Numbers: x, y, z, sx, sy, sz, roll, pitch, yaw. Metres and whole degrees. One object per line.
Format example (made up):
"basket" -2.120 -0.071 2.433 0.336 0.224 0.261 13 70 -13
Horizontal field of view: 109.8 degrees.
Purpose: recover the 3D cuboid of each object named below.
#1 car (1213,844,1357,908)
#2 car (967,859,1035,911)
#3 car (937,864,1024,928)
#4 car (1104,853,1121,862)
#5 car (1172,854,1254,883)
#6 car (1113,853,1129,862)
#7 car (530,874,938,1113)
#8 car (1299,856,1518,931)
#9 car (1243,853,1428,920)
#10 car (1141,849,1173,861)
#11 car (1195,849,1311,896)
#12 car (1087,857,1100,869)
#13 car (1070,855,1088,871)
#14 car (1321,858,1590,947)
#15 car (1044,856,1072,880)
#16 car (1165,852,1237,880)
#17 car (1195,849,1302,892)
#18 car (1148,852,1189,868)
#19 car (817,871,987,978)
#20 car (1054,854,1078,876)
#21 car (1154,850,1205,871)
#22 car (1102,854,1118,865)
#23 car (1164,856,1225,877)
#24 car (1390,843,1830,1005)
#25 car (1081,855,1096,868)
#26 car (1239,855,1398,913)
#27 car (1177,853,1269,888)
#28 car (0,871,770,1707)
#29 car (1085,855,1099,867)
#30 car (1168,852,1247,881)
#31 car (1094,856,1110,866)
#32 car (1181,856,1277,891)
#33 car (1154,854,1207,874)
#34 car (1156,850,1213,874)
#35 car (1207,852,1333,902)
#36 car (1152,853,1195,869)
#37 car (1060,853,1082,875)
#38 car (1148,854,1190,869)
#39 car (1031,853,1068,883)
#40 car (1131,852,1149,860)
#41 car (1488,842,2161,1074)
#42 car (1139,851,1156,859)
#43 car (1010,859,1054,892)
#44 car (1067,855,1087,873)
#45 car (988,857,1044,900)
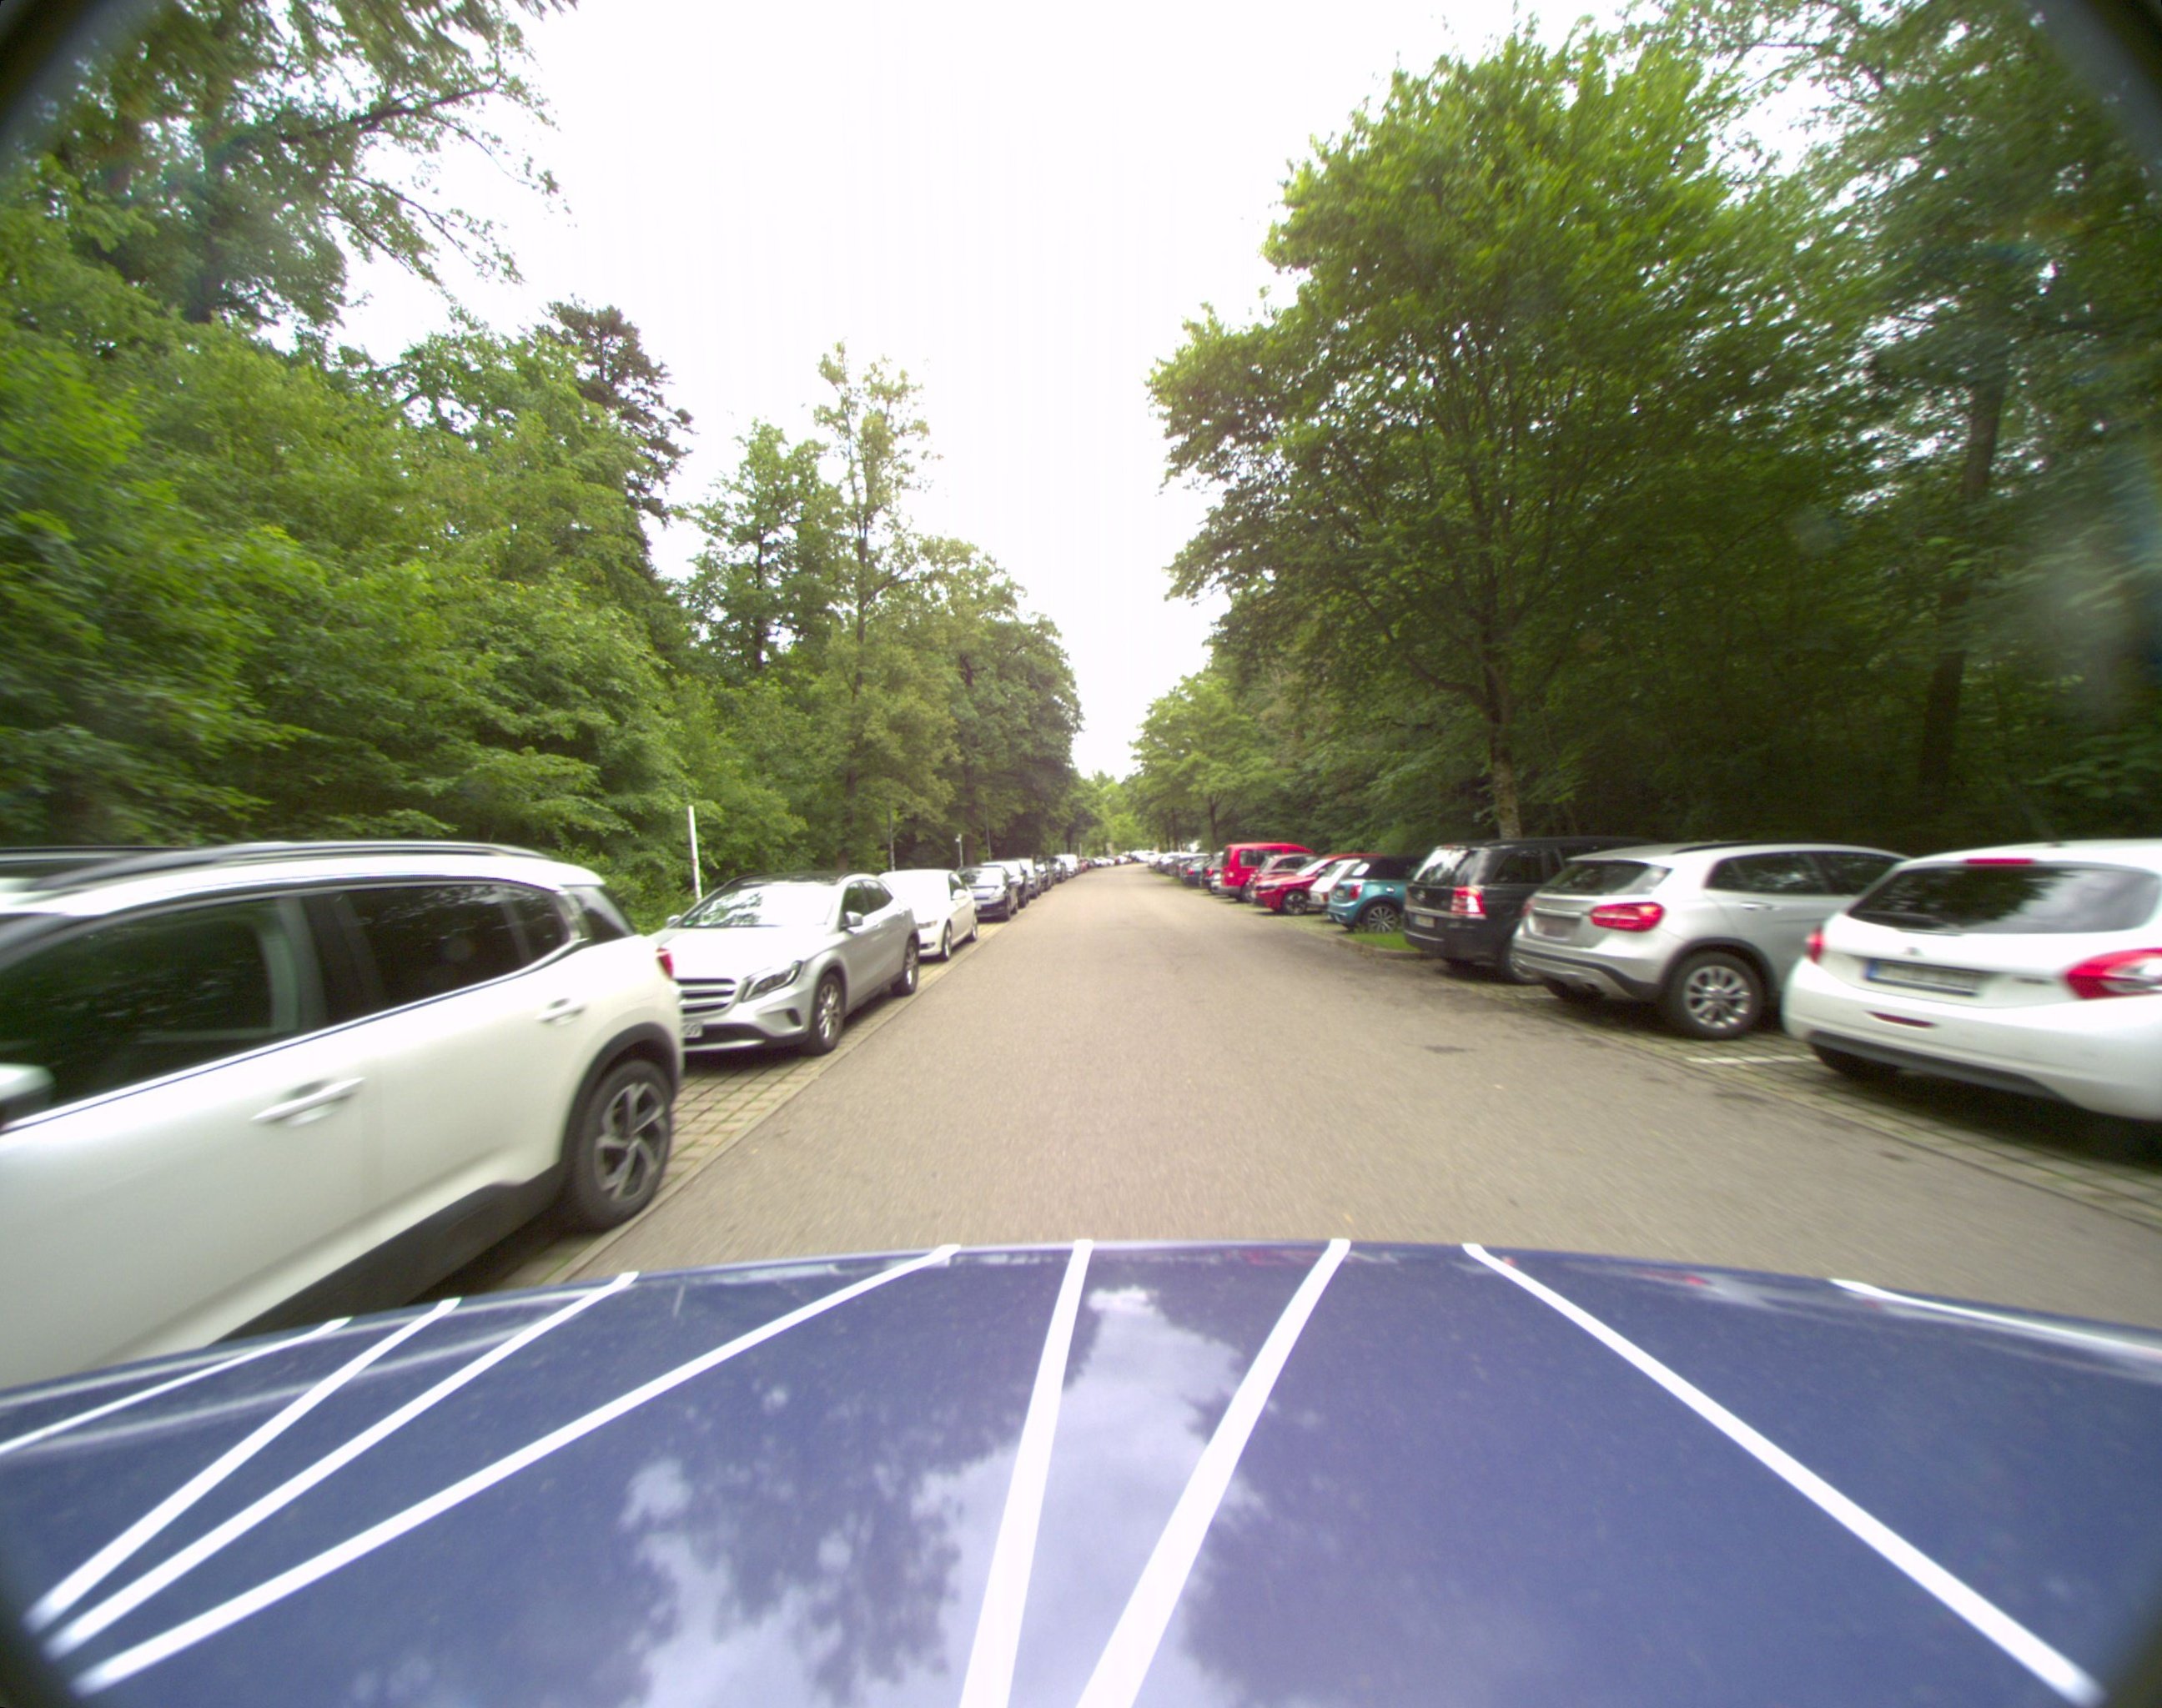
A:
"car" 6.321 0.665 23.855 3.997 1.804 1.818 -2 0 1
"car" -2.629 0.977 25.985 1.843 1.551 4.423 -2 0 -1
"car" -2.607 1.049 20.783 1.741 1.426 4.745 -2 0 -1
"car" 4.686 0.505 113.000 1.771 1.308 3.893 -2 0 13
"car" 7.137 0.769 41.371 4.220 1.447 1.819 -2 0 5
"car" 6.414 0.621 121.615 1.771 1.308 3.893 -2 0 13
"car" -2.860 1.038 7.659 1.740 1.471 4.770 -2 0 2
"car" 7.003 0.820 16.567 3.997 1.440 1.771 -2 0 1
"car" 6.244 0.777 18.960 3.997 1.507 1.771 -2 0 1
"car" 10.213 0.162 102.548 3.992 1.412 1.784 -2 1 17
"car" 6.451 0.673 28.786 3.996 1.588 1.742 -2 0 3
"car" 1.637 1.151 98.800 1.502 1.470 3.667 -2 0 4
"car" -0.181 0.872 76.280 1.502 1.470 3.666 -2 0 3
"car" 6.573 0.836 13.676 3.996 1.440 1.696 -1 0 4
"car" -1.612 0.983 54.521 1.705 1.529 3.963 -2 0 2
"car" 7.293 0.729 46.358 3.998 1.508 1.713 -3 0 -4
"car" 6.860 0.675 31.426 3.997 1.588 1.741 -2 0 1
"car" 9.006 0.587 78.294 3.998 1.469 1.713 -2 0 -2
"car" -2.898 1.086 13.327 1.740 1.398 4.428 -2 0 2
"car" -1.112 0.802 59.273 1.580 1.610 3.963 -2 0 2
"car" 8.269 0.565 64.049 3.998 1.699 1.713 -1 0 -2
"car" 4.193 0.732 108.092 1.501 1.470 3.669 -2 0 13
"car" 7.999 0.880 53.831 3.998 1.363 1.713 -2 0 -4
"car" 5.998 0.747 8.952 3.997 1.652 1.696 -1 0 -1
"car" 0.898 0.829 88.641 1.502 1.470 3.667 -2 0 4
"car" 6.731 0.822 21.866 3.997 1.507 1.818 -2 0 1
"car" 6.758 0.775 36.363 3.997 1.433 1.741 -3 0 -1
"car" -2.858 0.954 2.064 1.740 1.634 5.072 -2 0 2
"car" 1.331 0.851 93.475 1.502 1.470 3.667 -2 0 4
"car" 7.262 0.694 43.925 4.221 1.528 1.818 -2 0 1
"car" 2.904 0.914 103.256 1.501 1.331 3.436 -2 0 12
"car" 6.583 0.871 34.035 3.996 1.413 1.742 -2 0 4
"car" 7.982 0.806 61.387 3.998 1.480 1.713 -1 0 -2
"car" 7.650 0.591 56.421 3.998 1.717 1.713 -1 0 -2
"car" 6.526 0.772 26.523 3.996 1.588 1.742 -2 0 3
"car" 8.998 0.702 74.101 3.998 1.469 1.713 -1 0 -2
"car" -0.817 0.851 65.775 1.642 1.742 4.054 -2 0 2
"car" 8.828 0.743 76.382 3.998 1.469 1.713 -1 0 -2
"car" -1.923 0.832 47.851 1.909 1.713 4.486 -2 0 2
"car" 10.226 0.329 132.209 1.769 1.308 3.896 -2 0 25
"car" 5.966 0.774 6.484 3.996 1.652 1.814 -1 0 2
"car" 12.072 0.205 137.062 1.769 1.308 3.896 -2 0 25
"car" -2.341 1.008 37.218 1.824 1.433 4.000 -2 0 1
"car" -0.330 0.921 71.833 1.642 1.561 3.666 -2 0 3
"car" -2.601 0.946 31.464 1.907 1.577 4.481 -2 0 -1
